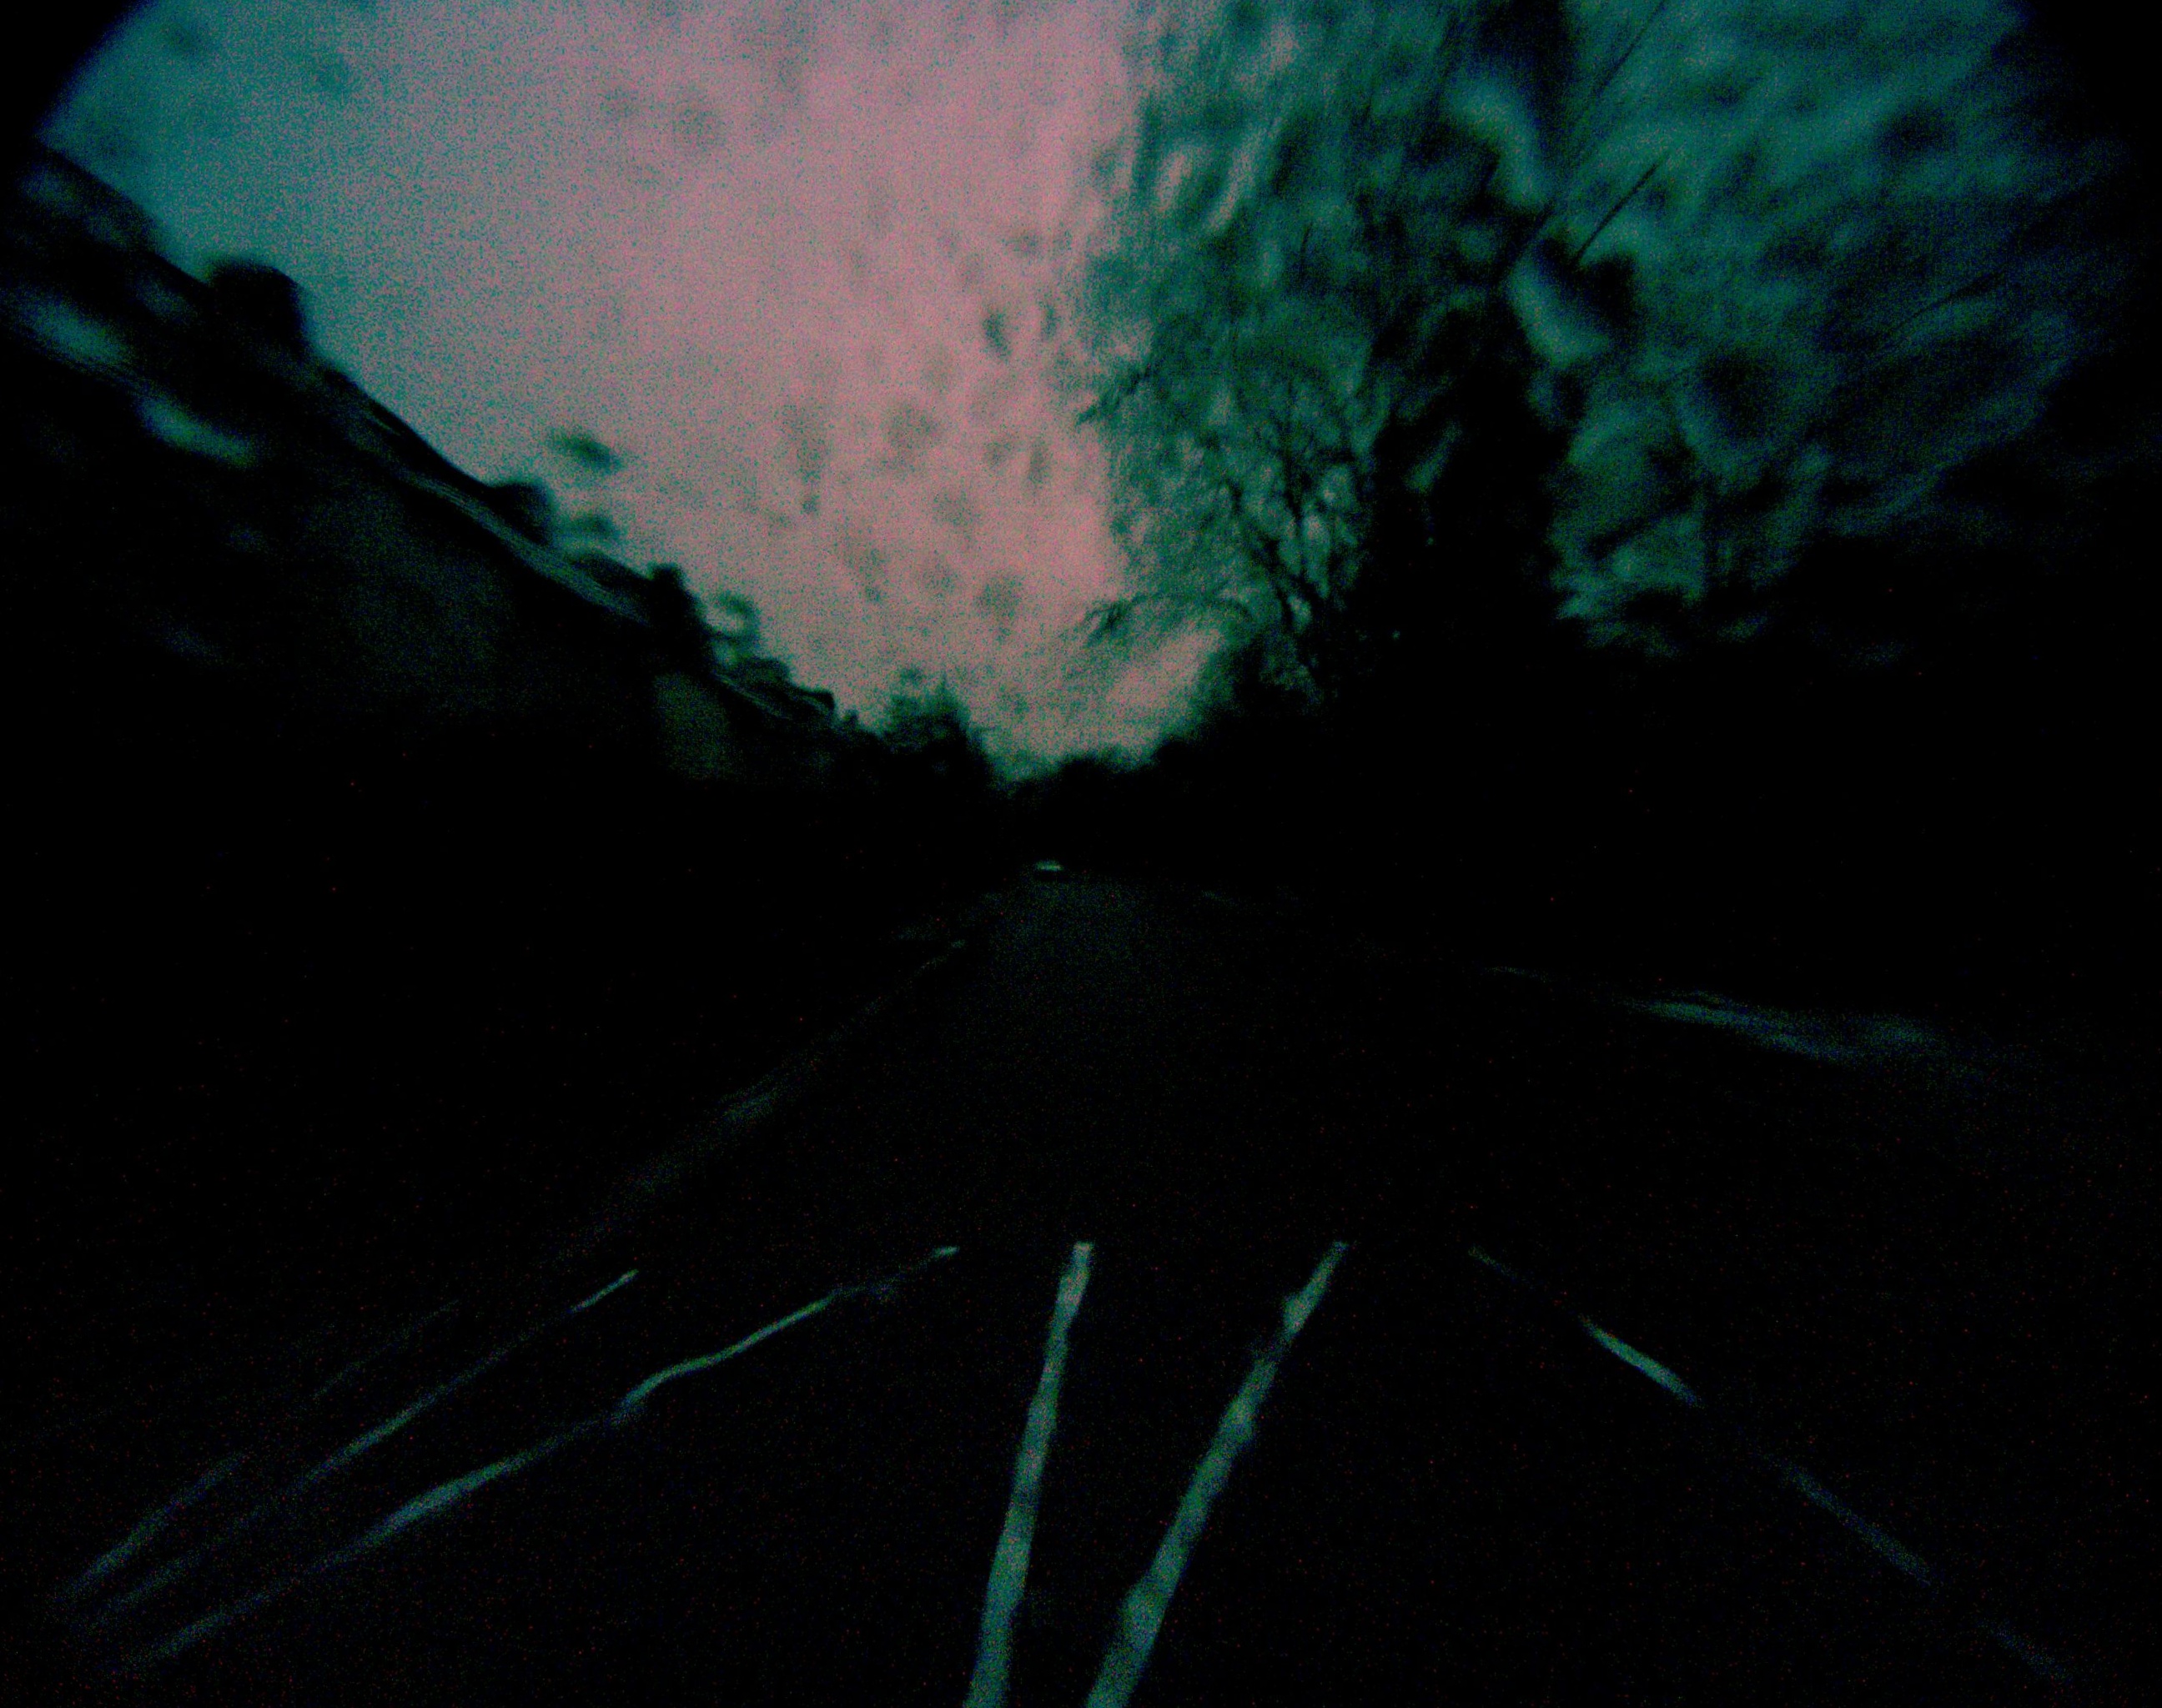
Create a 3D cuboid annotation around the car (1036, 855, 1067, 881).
[{"bbox_3d":[-1.943,0.845,48.357,1.709,1.497,4.022,-2,1,-5],"label":"car"}]
